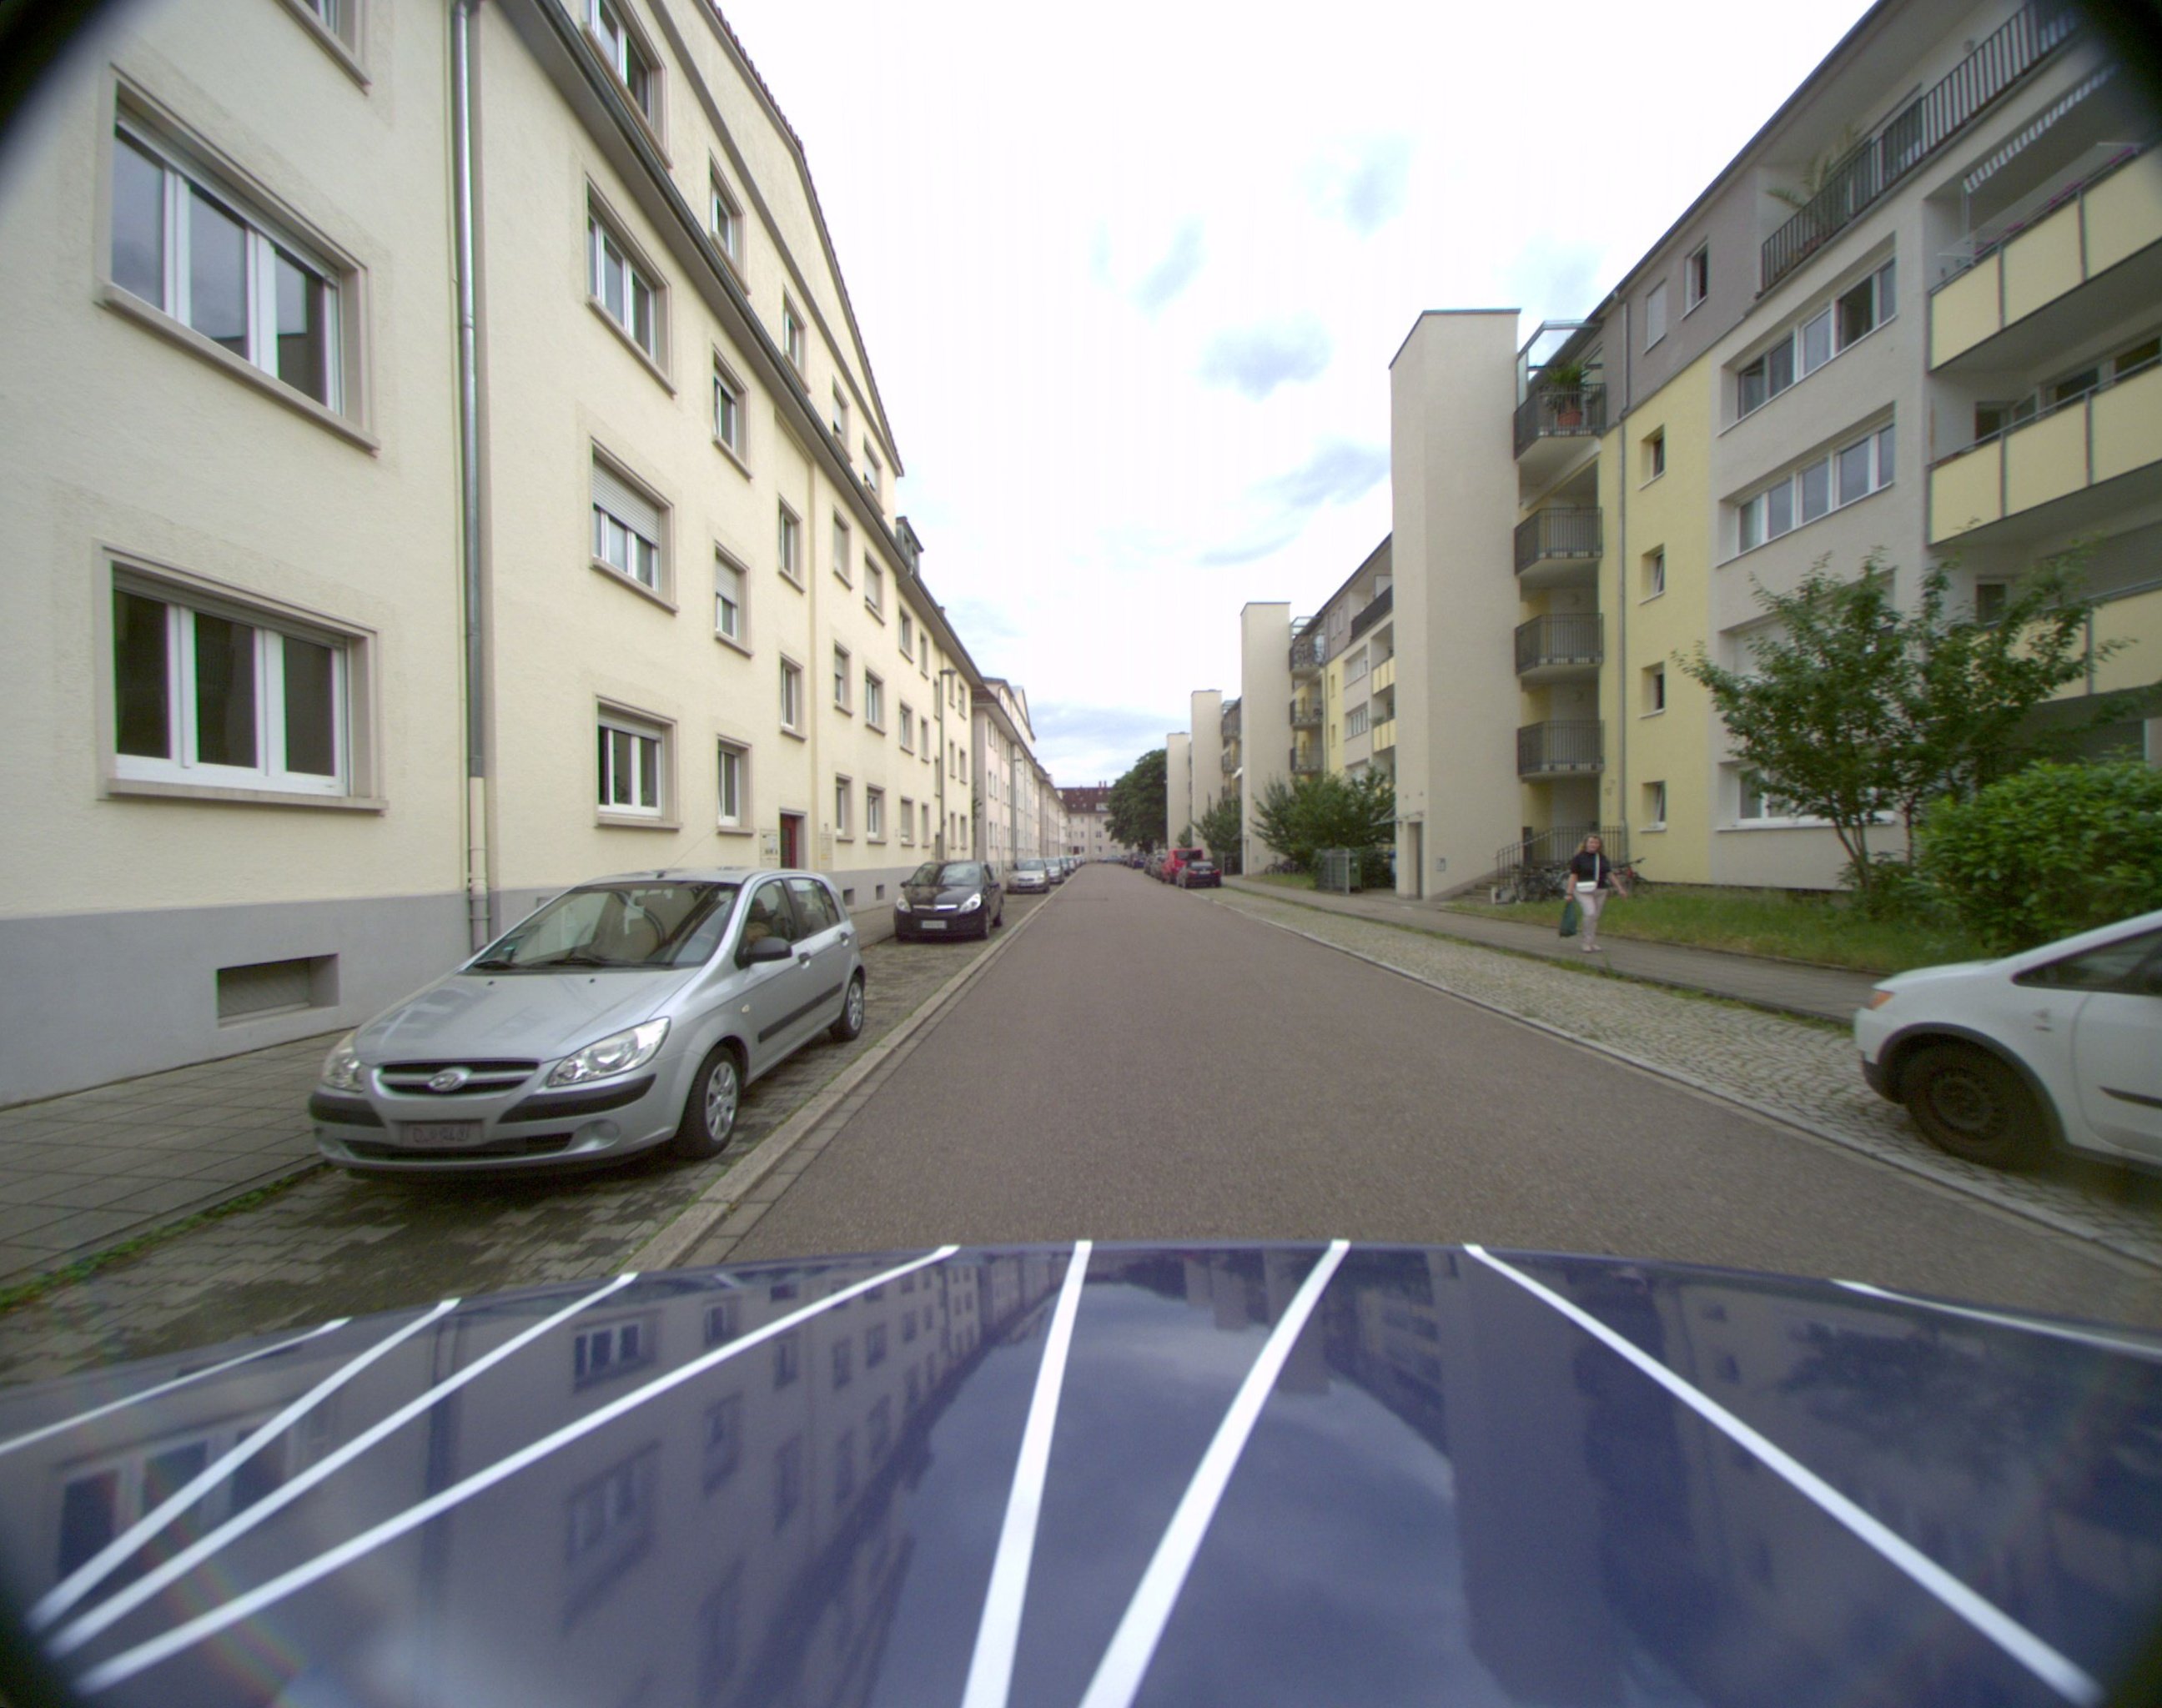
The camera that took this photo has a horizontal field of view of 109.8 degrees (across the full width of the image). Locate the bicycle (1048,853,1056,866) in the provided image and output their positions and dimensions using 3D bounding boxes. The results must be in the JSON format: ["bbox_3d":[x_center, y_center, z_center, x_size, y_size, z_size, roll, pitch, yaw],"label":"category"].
[{"bbox_3d":[-2.789,0.518,72.669,0.607,1.133,2.125,-1,1,1],"label":"bicycle"}]

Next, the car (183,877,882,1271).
[{"bbox_3d":[-2.760,0.970,5.061,1.853,1.441,3.832,-1,0,-1],"label":"car"}]

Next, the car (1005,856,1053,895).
[{"bbox_3d":[-2.140,0.852,32.313,1.729,1.508,4.060,-1,0,0],"label":"car"}]

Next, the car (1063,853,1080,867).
[{"bbox_3d":[-1.023,0.659,83.091,1.758,1.401,3.936,0,0,1],"label":"car"}]

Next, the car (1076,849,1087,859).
[{"bbox_3d":[0.097,0.046,128.600,1.763,1.595,3.956,-1,0,1],"label":"car"}]

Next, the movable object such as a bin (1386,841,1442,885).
[{"bbox_3d":[11.789,0.307,26.970,1.355,1.456,1.372,-2,1,0],"label":"movable object such as a bin"}]

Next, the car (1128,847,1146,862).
[{"bbox_3d":[7.018,0.035,95.153,1.891,1.844,4.785,-1,0,0],"label":"car"}]

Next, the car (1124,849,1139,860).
[{"bbox_3d":[7.327,0.101,110.488,1.919,1.431,4.434,-3,0,0],"label":"car"}]

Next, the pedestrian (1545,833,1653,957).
[{"bbox_3d":[7.056,0.536,10.398,0.802,1.600,0.946,-1,1,-3],"label":"pedestrian"}]

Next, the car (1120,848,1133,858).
[{"bbox_3d":[7.863,-0.136,130.584,2.000,1.566,4.209,-3,0,2],"label":"car"}]

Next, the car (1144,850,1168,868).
[{"bbox_3d":[6.374,0.410,65.055,1.647,1.430,3.856,-3,1,1],"label":"car"}]

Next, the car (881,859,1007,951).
[{"bbox_3d":[-2.549,0.885,15.085,1.729,1.508,4.060,-1,0,0],"label":"car"}]

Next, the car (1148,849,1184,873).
[{"bbox_3d":[5.961,0.462,53.719,1.839,1.561,4.861,-3,0,-1],"label":"car"}]

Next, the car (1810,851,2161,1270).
[{"bbox_3d":[5.077,0.823,2.459,1.725,1.561,3.870,-3,1,1],"label":"car"}]

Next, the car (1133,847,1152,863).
[{"bbox_3d":[6.690,0.134,83.004,1.804,1.617,4.472,-2,0,1],"label":"car"}]

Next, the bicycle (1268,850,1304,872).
[{"bbox_3d":[11.402,0.377,42.273,1.839,1.112,0.605,-2,1,0],"label":"bicycle"}]

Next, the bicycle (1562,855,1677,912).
[{"bbox_3d":[11.476,0.615,16.223,2.028,1.135,0.623,-1,1,-2],"label":"bicycle"}]

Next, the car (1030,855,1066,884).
[{"bbox_3d":[-1.780,0.839,42.497,1.729,1.483,4.060,-1,1,1],"label":"car"}]

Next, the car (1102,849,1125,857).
[{"bbox_3d":[6.495,-0.202,153.411,4.545,1.551,1.565,-1,1,5],"label":"car"}]

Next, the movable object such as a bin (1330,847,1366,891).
[{"bbox_3d":[9.081,0.491,25.870,0.805,1.421,1.288,-2,1,5],"label":"movable object such as a bin"}]

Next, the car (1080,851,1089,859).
[{"bbox_3d":[0.635,0.169,139.162,1.563,1.334,3.789,-1,0,1],"label":"car"}]

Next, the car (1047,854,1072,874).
[{"bbox_3d":[-1.589,0.728,57.930,1.729,1.460,4.264,-1,1,1],"label":"car"}]

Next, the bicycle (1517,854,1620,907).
[{"bbox_3d":[10.966,0.580,17.107,2.029,1.135,0.623,-1,1,-8],"label":"bicycle"}]

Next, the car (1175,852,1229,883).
[{"bbox_3d":[5.841,0.615,37.064,1.875,1.316,4.361,-3,0,0],"label":"car"}]

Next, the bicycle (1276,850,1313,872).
[{"bbox_3d":[11.689,0.383,41.594,1.839,1.112,0.570,-1,1,3],"label":"bicycle"}]

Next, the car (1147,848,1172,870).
[{"bbox_3d":[6.115,0.377,59.451,1.657,1.521,3.895,-3,1,3],"label":"car"}]

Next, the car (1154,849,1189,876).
[{"bbox_3d":[5.750,0.489,48.700,1.725,1.561,4.054,-3,1,1],"label":"car"}]

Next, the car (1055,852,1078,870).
[{"bbox_3d":[-1.330,0.623,70.807,1.788,1.590,3.805,-2,1,2],"label":"car"}]

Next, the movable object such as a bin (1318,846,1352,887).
[{"bbox_3d":[9.100,0.422,27.254,0.805,1.421,1.288,-2,1,4],"label":"movable object such as a bin"}]

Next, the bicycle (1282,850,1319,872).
[{"bbox_3d":[11.723,0.391,40.617,1.838,1.112,0.570,-1,1,7],"label":"bicycle"}]

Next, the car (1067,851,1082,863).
[{"bbox_3d":[-0.771,0.351,93.082,1.792,1.455,4.040,-1,0,1],"label":"car"}]

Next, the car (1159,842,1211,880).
[{"bbox_3d":[5.819,0.352,43.142,2.157,1.942,4.921,-3,1,-1],"label":"car"}]

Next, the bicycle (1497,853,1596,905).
[{"bbox_3d":[10.856,0.575,17.732,2.029,1.135,0.623,-1,1,-8],"label":"bicycle"}]
